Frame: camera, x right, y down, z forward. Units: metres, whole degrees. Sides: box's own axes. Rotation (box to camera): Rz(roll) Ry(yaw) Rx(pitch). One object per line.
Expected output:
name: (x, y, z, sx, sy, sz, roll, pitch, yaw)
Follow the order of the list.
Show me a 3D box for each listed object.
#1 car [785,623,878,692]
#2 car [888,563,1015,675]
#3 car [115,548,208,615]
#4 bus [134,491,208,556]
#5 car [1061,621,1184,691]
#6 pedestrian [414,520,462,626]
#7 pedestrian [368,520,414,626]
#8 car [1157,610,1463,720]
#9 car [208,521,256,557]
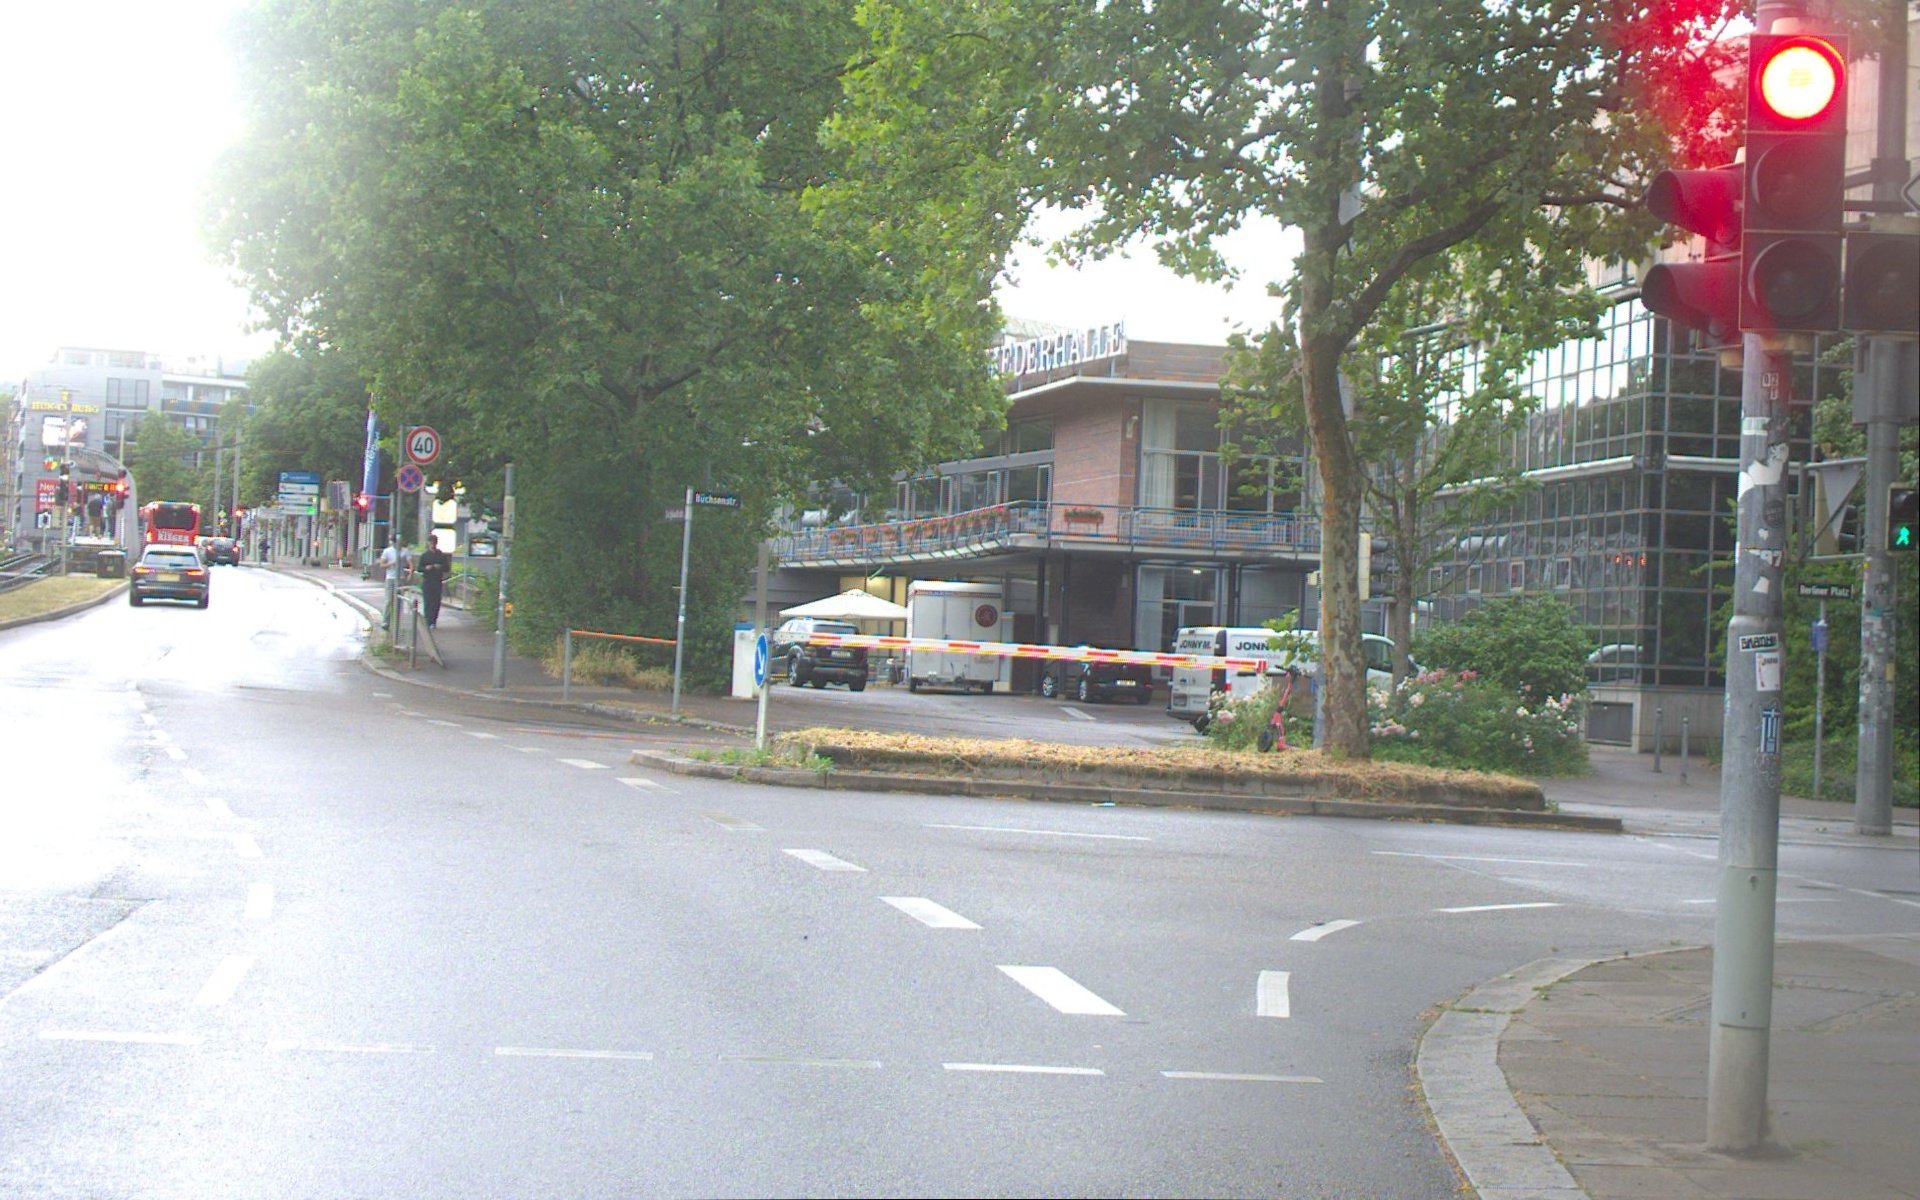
car: (-3.250, 1.453, 87.978, 2.019, 1.546, 4.350, 3, 1, 2)
car: (-0.289, 0.454, 91.468, 2.731, 2.686, 6.923, 3, 1, -5)
car: (-18.816, -0.451, 81.140, 1.993, 1.514, 4.351, 1, 1, -11)
bus: (-40.511, -3.868, 176.442, 3.589, 3.160, 10.423, 1, 1, -13)
car: (4.174, 1.434, 89.160, 2.019, 1.546, 4.351, 3, 1, -13)
pedestrian: (-10.052, -0.521, 66.187, 0.874, 2.007, 1.077, 1, 0, -8)
pedestrian: (-10.884, -0.525, 65.823, 0.814, 2.007, 1.077, 1, 0, -8)
car: (6.353, 1.175, 62.235, 5.198, 1.725, 1.875, 3, 1, -25)
car: (-38.420, -3.214, 181.424, 2.362, 1.810, 5.185, 1, 1, -13)
